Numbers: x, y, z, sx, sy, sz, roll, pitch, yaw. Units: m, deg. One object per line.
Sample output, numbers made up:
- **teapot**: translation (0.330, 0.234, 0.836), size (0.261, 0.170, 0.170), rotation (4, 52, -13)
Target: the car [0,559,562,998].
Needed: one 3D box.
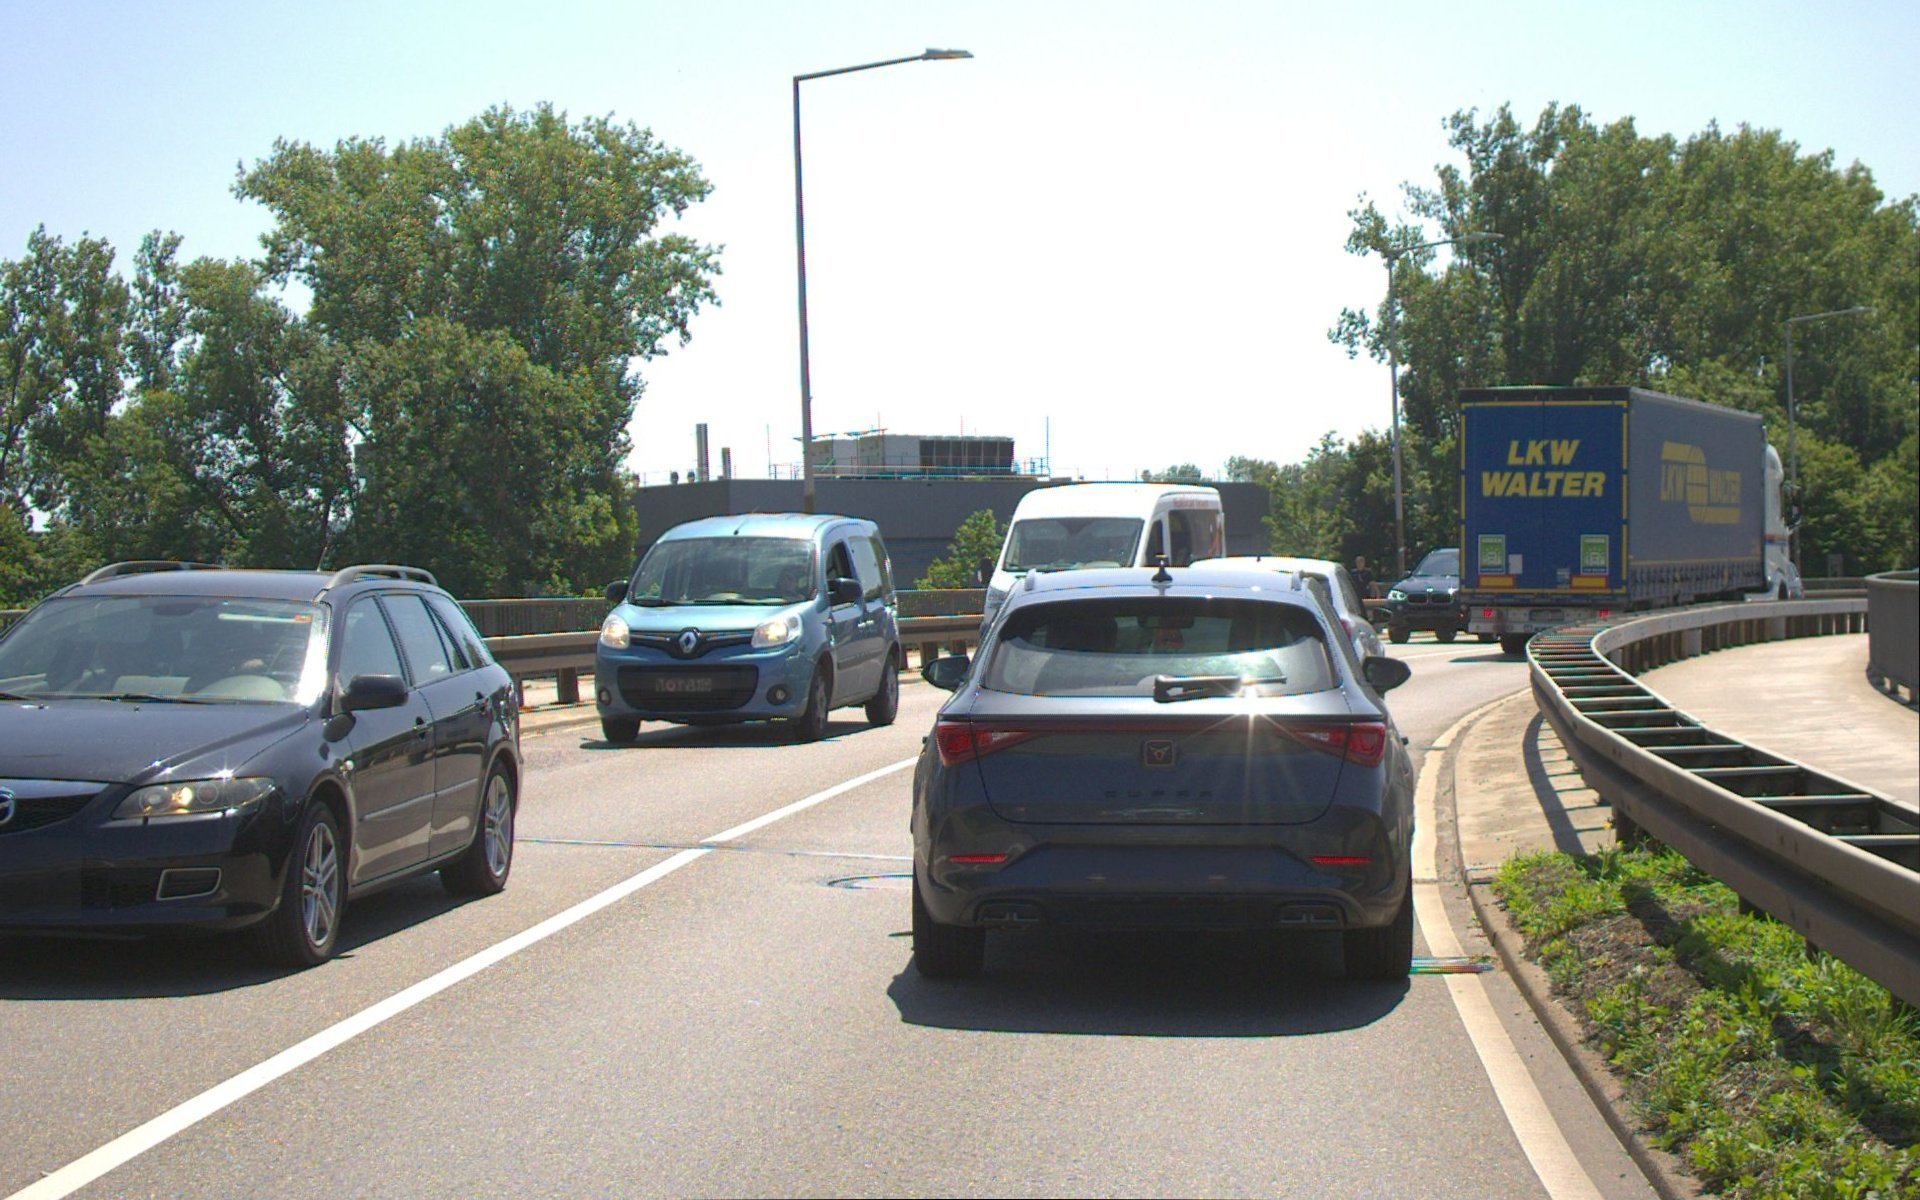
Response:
- **car**: translation (-2.995, 0.564, 13.729), size (1.757, 1.437, 4.567), rotation (1, 1, 7)

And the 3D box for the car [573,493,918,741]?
- **car**: translation (-1.658, 0.104, 28.149), size (1.757, 1.848, 4.273), rotation (1, 1, 11)

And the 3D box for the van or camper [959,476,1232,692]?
- **van or camper**: translation (1.823, -0.277, 43.697), size (2.050, 2.528, 5.879), rotation (1, 2, 17)

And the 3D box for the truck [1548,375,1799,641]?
- **truck**: translation (13.192, -1.595, 63.050), size (3.173, 4.569, 7.388), rotation (1, 0, 22)

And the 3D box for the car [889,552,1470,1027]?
- **car**: translation (0.670, 0.581, 12.845), size (1.845, 1.493, 3.758), rotation (0, 1, -1)

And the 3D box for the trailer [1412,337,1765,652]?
- **trailer**: translation (10.648, -1.590, 56.703), size (3.137, 4.598, 12.933), rotation (2, 1, 22)

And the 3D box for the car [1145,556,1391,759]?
- **car**: translation (2.485, 0.407, 27.100), size (1.594, 1.456, 3.543), rotation (1, 1, 10)
